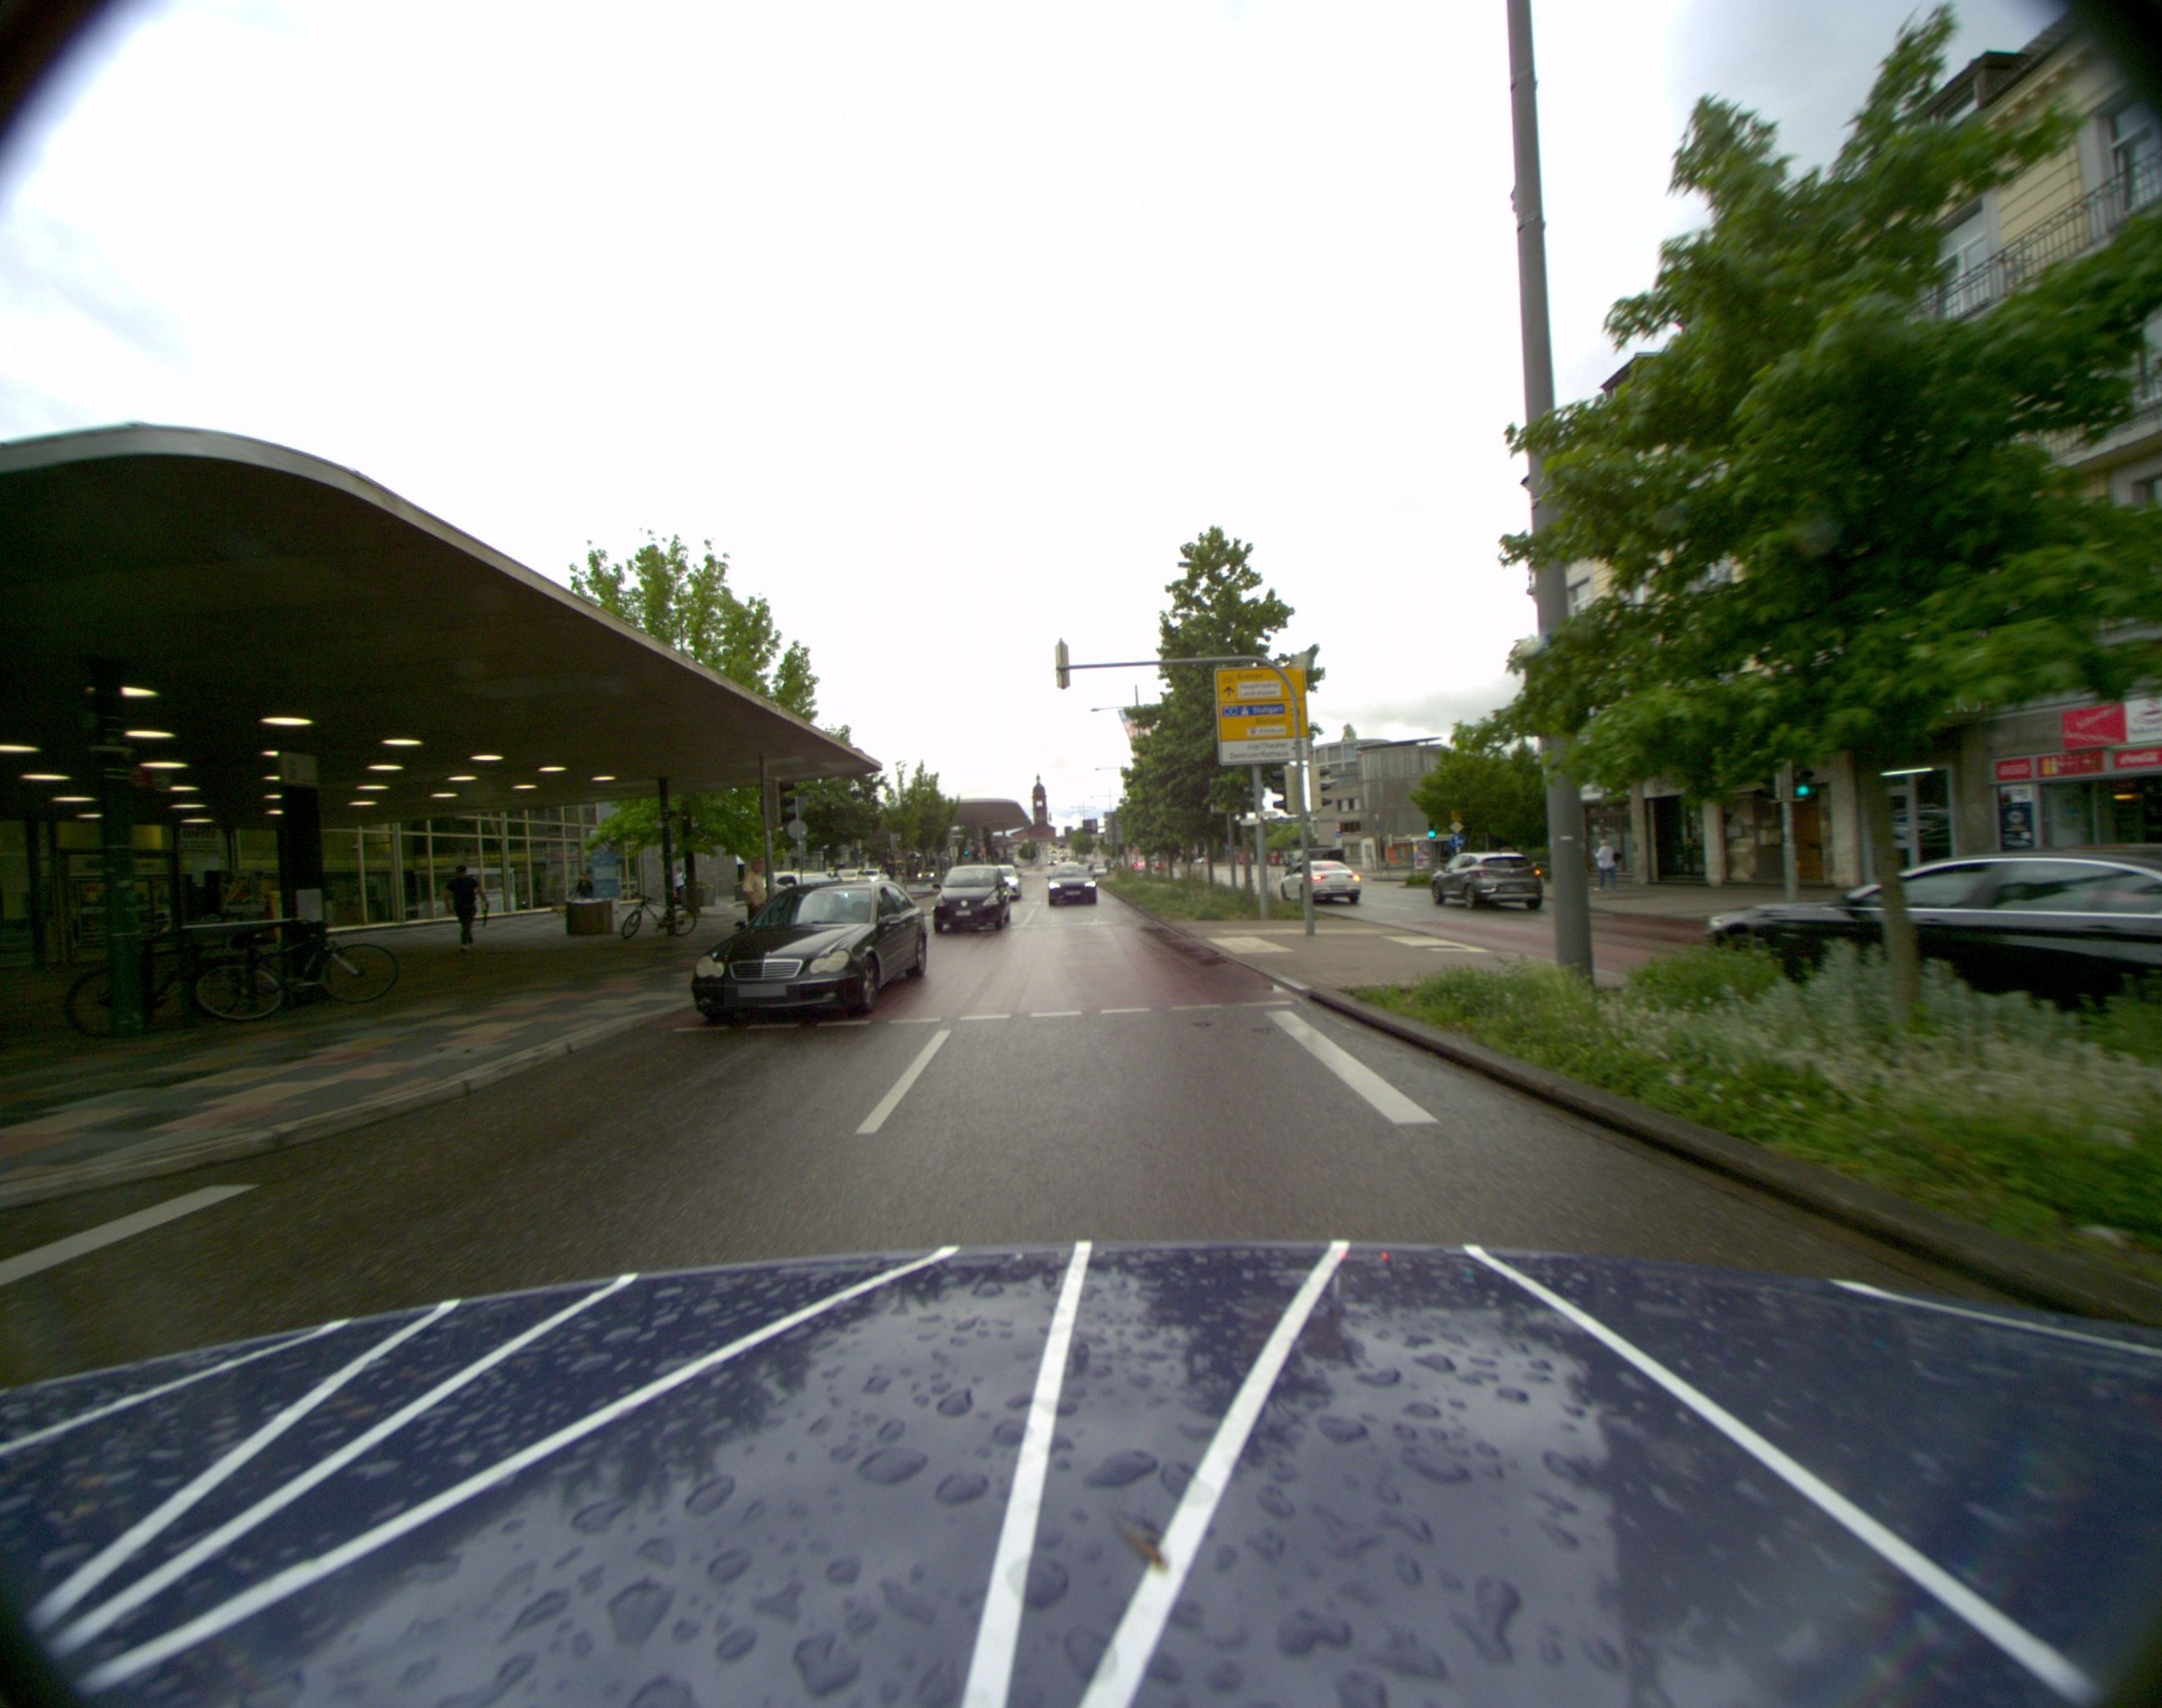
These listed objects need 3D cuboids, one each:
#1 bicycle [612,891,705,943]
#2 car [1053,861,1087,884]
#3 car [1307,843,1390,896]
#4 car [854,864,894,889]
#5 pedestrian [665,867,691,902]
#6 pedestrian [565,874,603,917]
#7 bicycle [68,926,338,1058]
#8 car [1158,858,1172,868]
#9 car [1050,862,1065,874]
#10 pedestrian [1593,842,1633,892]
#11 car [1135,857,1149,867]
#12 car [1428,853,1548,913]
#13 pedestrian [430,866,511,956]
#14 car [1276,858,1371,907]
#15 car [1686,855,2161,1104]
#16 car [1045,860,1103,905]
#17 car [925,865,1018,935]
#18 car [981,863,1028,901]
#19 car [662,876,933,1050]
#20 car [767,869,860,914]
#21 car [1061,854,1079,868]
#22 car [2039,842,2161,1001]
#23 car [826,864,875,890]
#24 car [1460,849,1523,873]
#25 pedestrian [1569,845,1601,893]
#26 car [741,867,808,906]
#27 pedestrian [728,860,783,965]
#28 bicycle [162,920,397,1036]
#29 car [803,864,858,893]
[{"bbox_3d":[-9.482,1.414,17.100,1.720,1.040,0.524,-2,1,-9],"label":"bicycle"},{"bbox_3d":[-0.706,1.219,51.599,1.983,1.438,3.909,-1,0,3],"label":"car"},{"bbox_3d":[10.936,0.587,31.428,1.946,1.984,4.373,-2,0,1],"label":"car"},{"bbox_3d":[-14.608,1.538,53.843,1.820,1.581,4.076,-2,0,-2],"label":"car"},{"bbox_3d":[-19.554,1.482,36.857,0.762,1.639,0.852,-2,1,1],"label":"pedestrian"},{"bbox_3d":[-18.156,1.501,27.778,0.762,1.502,0.852,-2,1,1],"label":"pedestrian"},{"bbox_3d":[-8.942,1.364,7.856,1.723,1.040,0.523,-3,1,-41],"label":"bicycle"},{"bbox_3d":[13.603,1.470,123.127,1.983,1.438,3.909,-2,0,3],"label":"car"},{"bbox_3d":[-3.358,1.984,107.284,2.055,1.581,4.076,-2,0,-2],"label":"car"},{"bbox_3d":[16.848,0.410,24.065,0.789,1.529,0.747,-3,0,19],"label":"pedestrian"},{"bbox_3d":[9.254,1.198,115.550,1.983,1.438,3.909,-2,0,3],"label":"car"},{"bbox_3d":[11.405,0.772,21.572,1.766,1.499,3.845,-2,-1,8],"label":"car"},{"bbox_3d":[-12.463,1.151,15.544,0.823,1.747,0.913,-2,1,6],"label":"pedestrian"},{"bbox_3d":[8.216,0.895,26.144,1.846,1.455,4.373,-2,0,0],"label":"car"},{"bbox_3d":[7.538,0.777,5.798,1.846,1.455,5.030,-2,0,0],"label":"car"},{"bbox_3d":[-0.197,1.031,28.722,1.871,1.466,3.827,-2,0,4],"label":"car"},{"bbox_3d":[-2.626,1.064,19.082,1.872,1.466,3.825,-2,0,-2],"label":"car"},{"bbox_3d":[-3.300,1.180,33.218,1.619,1.477,3.669,-2,0,0],"label":"car"},{"bbox_3d":[-3.047,1.088,9.105,1.872,1.466,3.825,-2,0,-2],"label":"car"},{"bbox_3d":[-10.159,1.360,28.698,1.824,1.482,4.148,-2,0,-41],"label":"car"},{"bbox_3d":[-1.373,0.855,93.078,2.055,1.581,4.076,-2,0,-2],"label":"car"},{"bbox_3d":[10.872,0.625,5.985,1.682,1.437,3.915,-2,1,-1],"label":"car"},{"bbox_3d":[-14.517,1.414,48.133,1.820,1.482,4.464,-2,0,-2],"label":"car"},{"bbox_3d":[32.826,0.558,60.805,3.994,1.718,2.001,-2,0,10],"label":"car"},{"bbox_3d":[16.082,0.479,24.260,0.643,1.479,0.747,-3,0,19],"label":"pedestrian"},{"bbox_3d":[-13.976,1.420,34.875,1.821,1.546,4.461,-2,0,-9],"label":"car"},{"bbox_3d":[-5.569,0.984,13.026,0.560,1.741,0.700,-1,1,6],"label":"pedestrian"},{"bbox_3d":[-8.991,1.360,8.626,1.723,1.040,0.524,-3,1,-33],"label":"bicycle"},{"bbox_3d":[-14.236,1.373,43.421,1.820,1.482,4.169,-2,0,-2],"label":"car"}]
